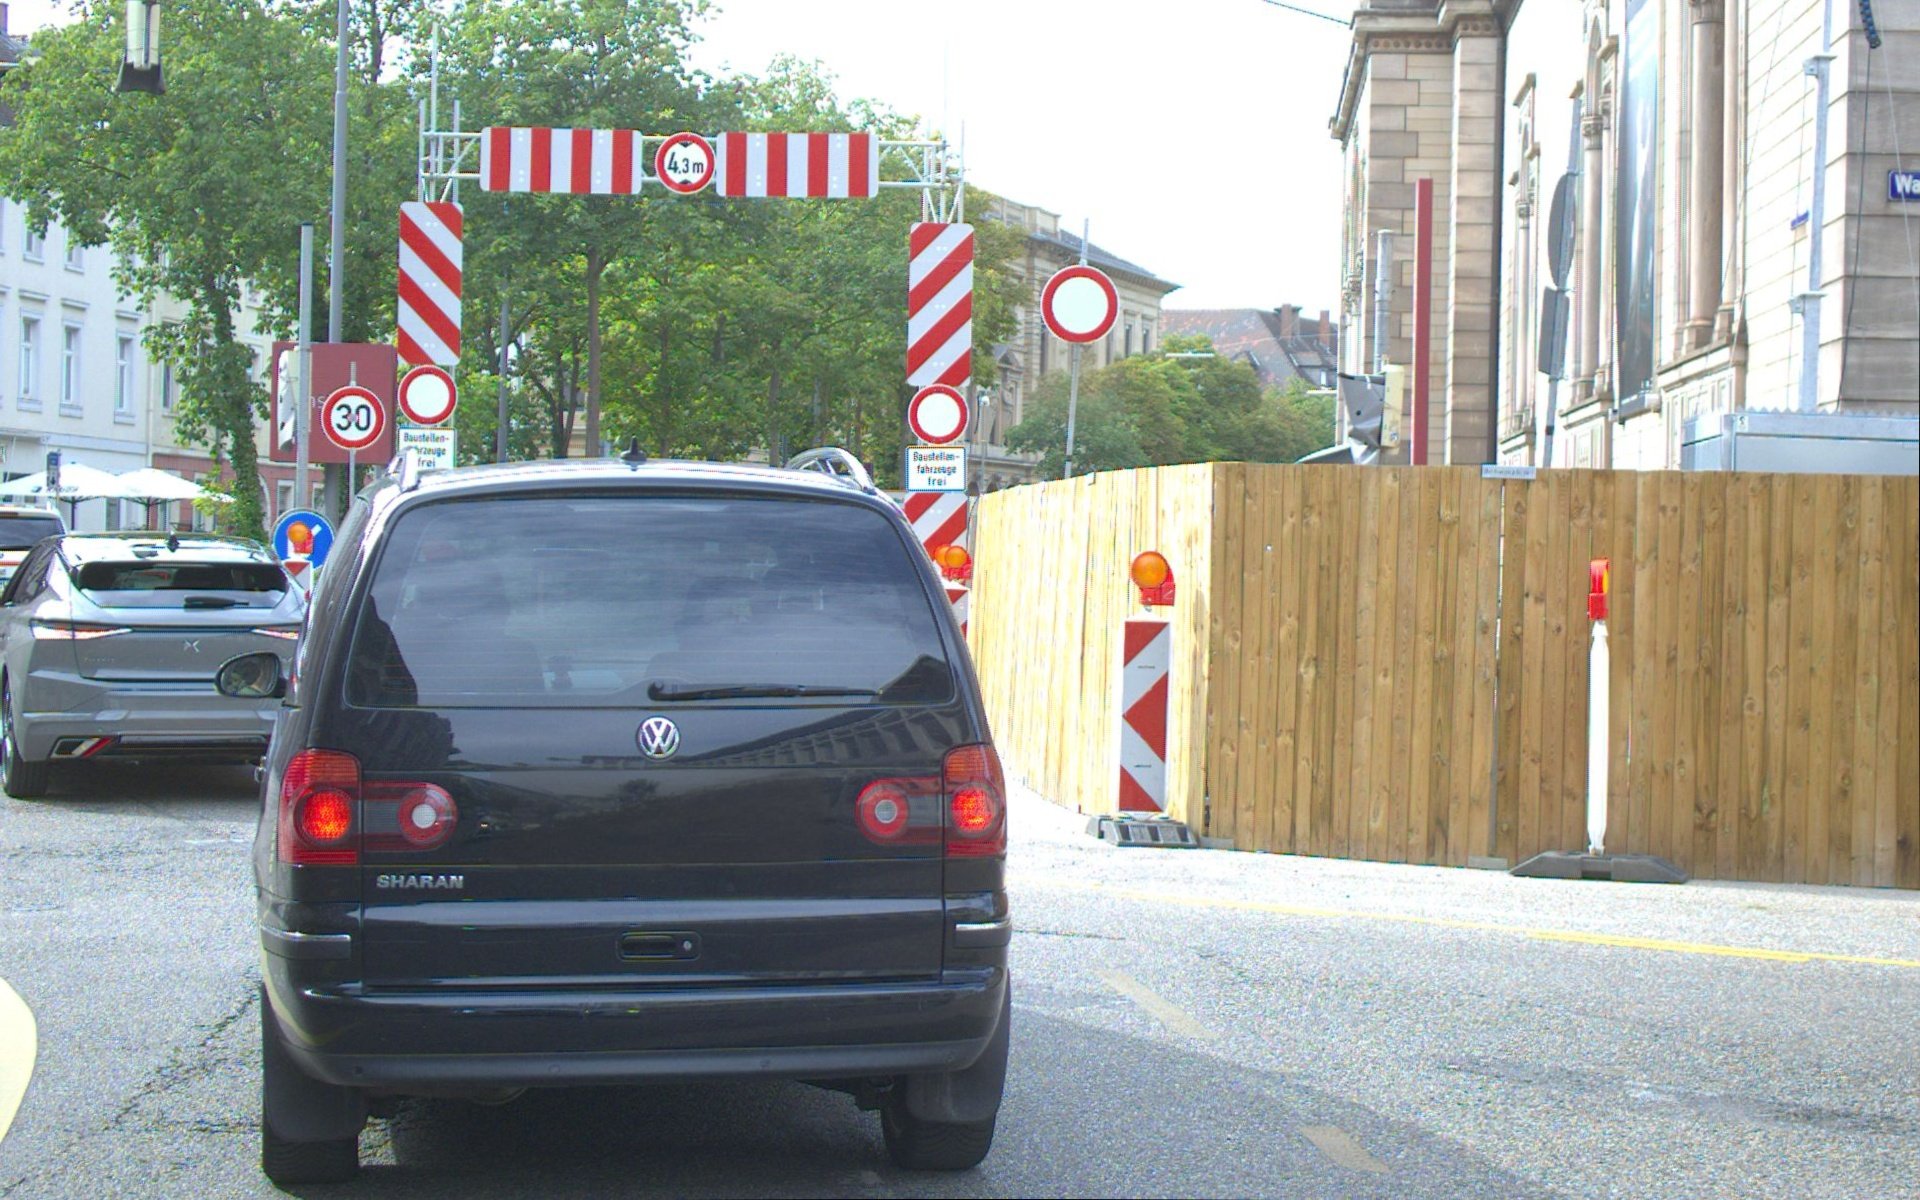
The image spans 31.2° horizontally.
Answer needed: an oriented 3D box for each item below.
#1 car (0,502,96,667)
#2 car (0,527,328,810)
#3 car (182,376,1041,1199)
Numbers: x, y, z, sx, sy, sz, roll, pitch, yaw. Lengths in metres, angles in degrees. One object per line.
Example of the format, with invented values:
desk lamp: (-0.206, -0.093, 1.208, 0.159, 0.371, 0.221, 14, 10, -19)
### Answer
car: (-9.958, -0.180, 34.816, 1.773, 1.580, 4.001, 1, 0, -22)
car: (-4.860, 0.336, 20.082, 1.677, 1.464, 4.104, 1, 1, -19)
car: (-1.048, 0.417, 9.397, 1.789, 1.784, 4.104, 2, 0, -9)
